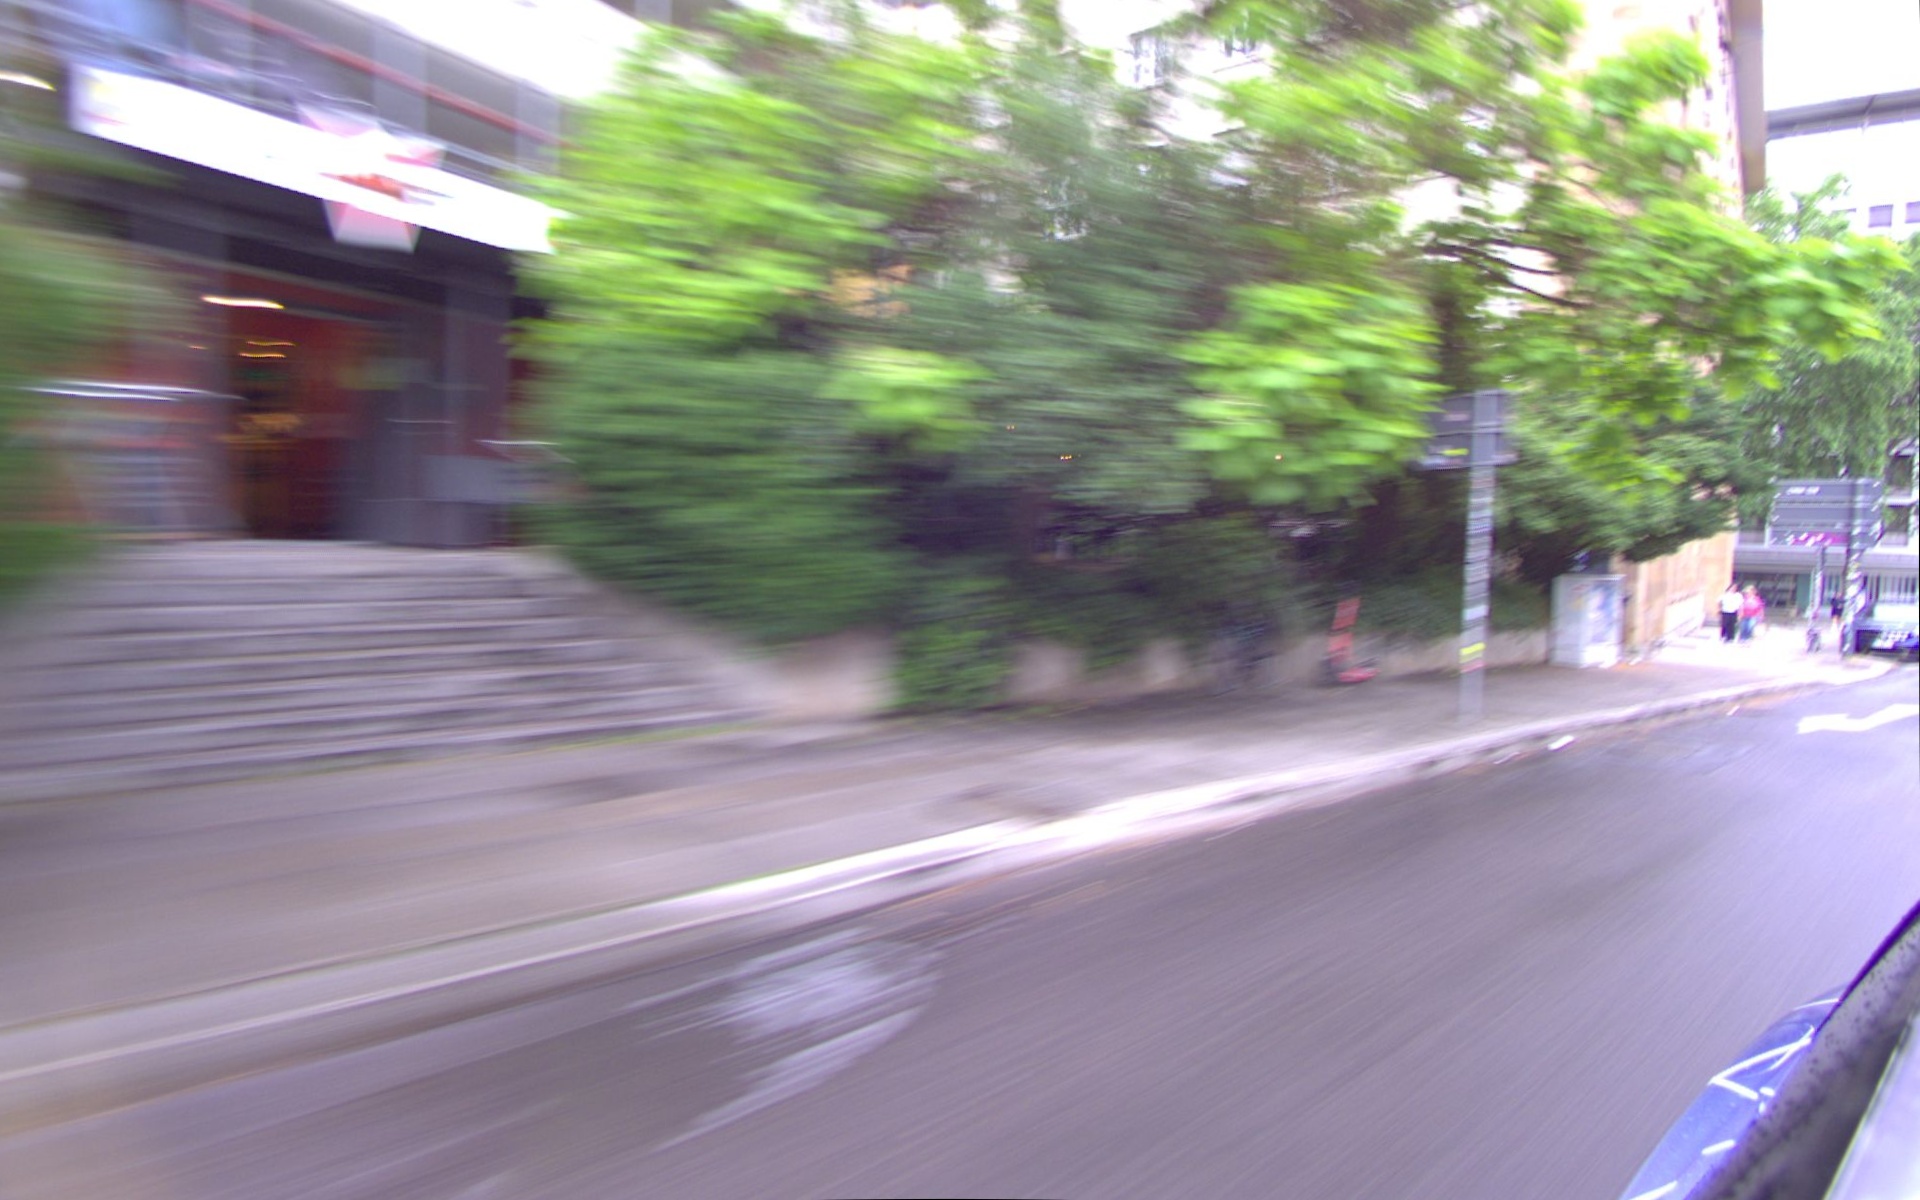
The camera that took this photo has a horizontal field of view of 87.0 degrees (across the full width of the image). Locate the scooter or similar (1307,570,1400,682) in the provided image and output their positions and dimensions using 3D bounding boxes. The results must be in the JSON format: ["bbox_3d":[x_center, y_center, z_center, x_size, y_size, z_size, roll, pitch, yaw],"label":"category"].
[{"bbox_3d":[4.775,0.306,12.261,1.190,1.274,0.448,1,4,-40],"label":"scooter or similar"}]

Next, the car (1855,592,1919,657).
[{"bbox_3d":[26.269,0.636,27.995,4.086,1.639,1.771,-1,3,-42],"label":"car"}]

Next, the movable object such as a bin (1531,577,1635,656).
[{"bbox_3d":[11.673,0.286,18.973,1.211,1.325,1.243,1,5,-39],"label":"movable object such as a bin"}]

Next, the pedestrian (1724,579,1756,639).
[{"bbox_3d":[21.524,0.238,27.937,0.521,1.622,0.667,3,2,27],"label":"pedestrian"}]

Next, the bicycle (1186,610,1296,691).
[{"bbox_3d":[3.049,0.526,10.945,1.190,0.763,0.502,1,6,-40],"label":"bicycle"}]

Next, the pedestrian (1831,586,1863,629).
[{"bbox_3d":[38.295,0.324,43.689,0.847,1.793,0.782,1,3,-38],"label":"pedestrian"}]

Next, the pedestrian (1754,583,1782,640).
[{"bbox_3d":[22.182,0.296,27.769,0.524,1.510,0.664,4,3,40],"label":"pedestrian"}]
